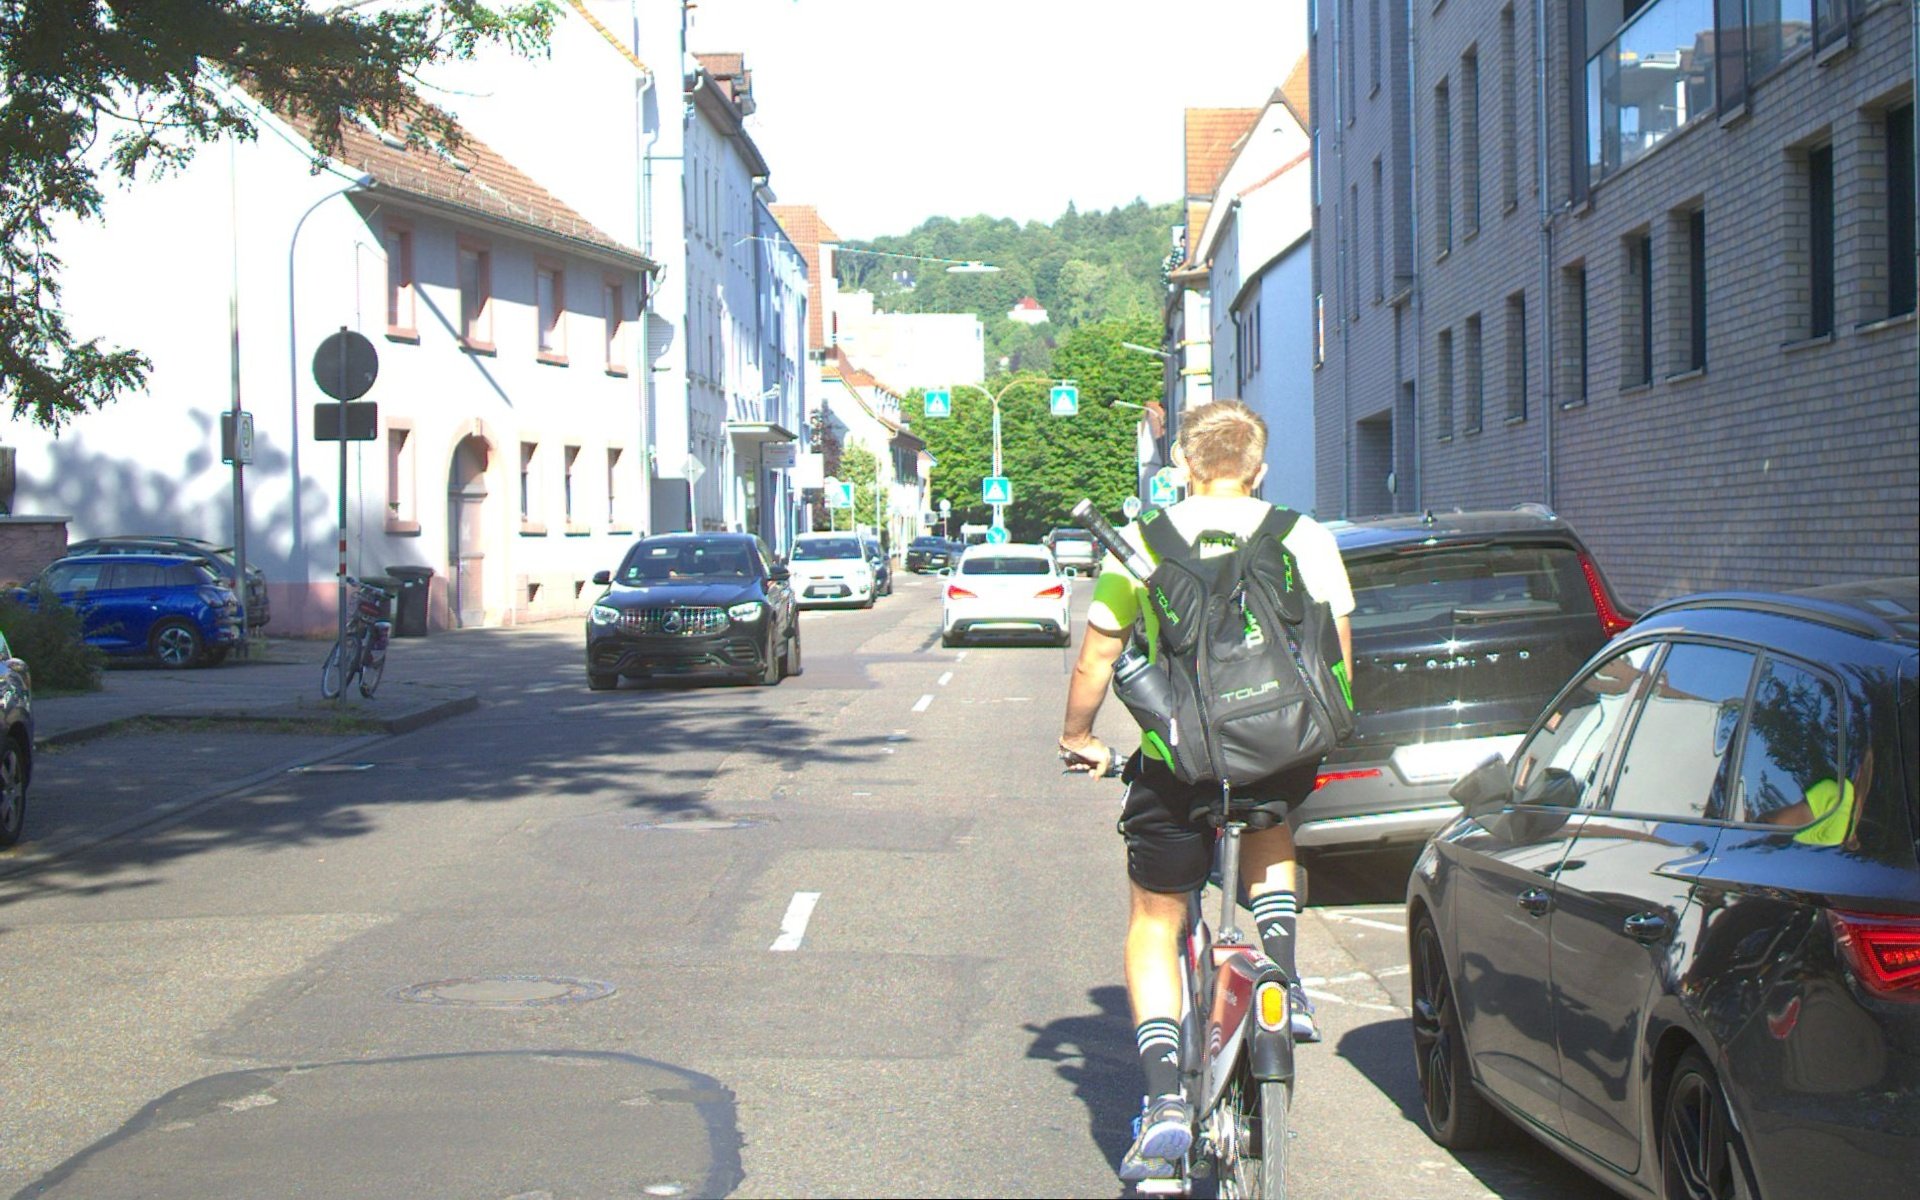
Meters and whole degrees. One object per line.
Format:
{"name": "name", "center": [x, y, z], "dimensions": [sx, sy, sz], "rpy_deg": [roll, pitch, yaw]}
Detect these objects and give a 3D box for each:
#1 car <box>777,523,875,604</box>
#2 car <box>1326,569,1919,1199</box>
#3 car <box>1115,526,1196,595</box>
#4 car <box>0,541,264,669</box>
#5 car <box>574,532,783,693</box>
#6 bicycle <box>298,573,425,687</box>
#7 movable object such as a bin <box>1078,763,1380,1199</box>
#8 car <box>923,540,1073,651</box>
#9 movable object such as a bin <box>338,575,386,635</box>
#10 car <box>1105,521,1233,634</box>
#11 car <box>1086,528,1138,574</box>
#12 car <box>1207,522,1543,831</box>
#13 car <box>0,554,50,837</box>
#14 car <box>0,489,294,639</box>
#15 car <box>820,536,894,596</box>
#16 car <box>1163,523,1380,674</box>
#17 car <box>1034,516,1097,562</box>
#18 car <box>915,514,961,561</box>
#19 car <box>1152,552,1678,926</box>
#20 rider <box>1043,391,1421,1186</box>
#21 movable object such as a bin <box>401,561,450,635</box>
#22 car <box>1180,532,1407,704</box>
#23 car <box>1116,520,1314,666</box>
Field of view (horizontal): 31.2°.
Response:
{"name": "car", "center": [-2.814, -0.810, 73.015], "dimensions": [1.993, 1.642, 5.222], "rpy_deg": [0, 1, -1]}
{"name": "car", "center": [2.053, 0.711, 7.601], "dimensions": [1.696, 1.462, 4.721], "rpy_deg": [-2, 1, -3]}
{"name": "car", "center": [4.453, -0.930, 78.899], "dimensions": [1.741, 1.487, 4.438], "rpy_deg": [-2, 1, 3]}
{"name": "car", "center": [-11.157, 0.060, 44.620], "dimensions": [3.768, 1.524, 2.000], "rpy_deg": [-1, 2, 2]}
{"name": "car", "center": [-2.912, 0.084, 36.360], "dimensions": [1.939, 1.570, 4.319], "rpy_deg": [-1, 1, -1]}
{"name": "bicycle", "center": [-5.535, 0.263, 31.917], "dimensions": [0.704, 0.999, 1.941], "rpy_deg": [0, 1, 4]}
{"name": "movable object such as a bin", "center": [0.547, 0.920, 7.506], "dimensions": [0.454, 1.029, 1.840], "rpy_deg": [2, 0, -1]}
{"name": "car", "center": [0.485, -0.098, 48.043], "dimensions": [1.993, 1.461, 4.000], "rpy_deg": [-1, 1, -1]}
{"name": "movable object such as a bin", "center": [-8.846, 0.069, 50.854], "dimensions": [0.598, 0.869, 0.606], "rpy_deg": [-1, 1, -1]}
{"name": "car", "center": [3.336, -0.397, 55.539], "dimensions": [1.855, 1.630, 4.623], "rpy_deg": [-3, 1, 2]}
{"name": "car", "center": [6.322, -2.055, 143.636], "dimensions": [2.011, 1.846, 4.000], "rpy_deg": [1, 2, 1]}
{"name": "car", "center": [2.575, 0.387, 21.947], "dimensions": [1.890, 1.706, 4.773], "rpy_deg": [0, 2, 5]}
{"name": "car", "center": [-5.903, 0.535, 17.131], "dimensions": [1.696, 1.486, 4.000], "rpy_deg": [-1, 1, -1]}
{"name": "car", "center": [-11.795, -0.528, 48.331], "dimensions": [4.363, 1.788, 1.988], "rpy_deg": [3, 4, 3]}
{"name": "car", "center": [-2.662, -0.878, 89.561], "dimensions": [1.731, 1.494, 3.959], "rpy_deg": [-1, 0, 1]}
{"name": "car", "center": [3.331, -0.061, 37.513], "dimensions": [1.993, 1.500, 4.367], "rpy_deg": [-1, 2, 0]}
{"name": "car", "center": [3.514, -2.038, 114.971], "dimensions": [1.993, 1.461, 4.000], "rpy_deg": [-1, 1, 1]}
{"name": "car", "center": [-0.958, -2.736, 149.985], "dimensions": [1.993, 2.007, 4.000], "rpy_deg": [0, 1, 0]}
{"name": "car", "center": [1.950, 0.530, 15.971], "dimensions": [1.816, 1.461, 4.270], "rpy_deg": [-1, 1, -1]}
{"name": "rider", "center": [0.555, 0.376, 7.382], "dimensions": [0.653, 1.556, 1.083], "rpy_deg": [2, 0, -1]}
{"name": "movable object such as a bin", "center": [-8.053, -0.034, 51.838], "dimensions": [0.598, 1.090, 0.751], "rpy_deg": [0, 1, 2]}
{"name": "car", "center": [3.093, 0.119, 32.599], "dimensions": [1.712, 1.399, 4.073], "rpy_deg": [-4, 1, 1]}
{"name": "car", "center": [3.098, -0.134, 42.629], "dimensions": [1.993, 1.647, 4.763], "rpy_deg": [-1, 2, -1]}
